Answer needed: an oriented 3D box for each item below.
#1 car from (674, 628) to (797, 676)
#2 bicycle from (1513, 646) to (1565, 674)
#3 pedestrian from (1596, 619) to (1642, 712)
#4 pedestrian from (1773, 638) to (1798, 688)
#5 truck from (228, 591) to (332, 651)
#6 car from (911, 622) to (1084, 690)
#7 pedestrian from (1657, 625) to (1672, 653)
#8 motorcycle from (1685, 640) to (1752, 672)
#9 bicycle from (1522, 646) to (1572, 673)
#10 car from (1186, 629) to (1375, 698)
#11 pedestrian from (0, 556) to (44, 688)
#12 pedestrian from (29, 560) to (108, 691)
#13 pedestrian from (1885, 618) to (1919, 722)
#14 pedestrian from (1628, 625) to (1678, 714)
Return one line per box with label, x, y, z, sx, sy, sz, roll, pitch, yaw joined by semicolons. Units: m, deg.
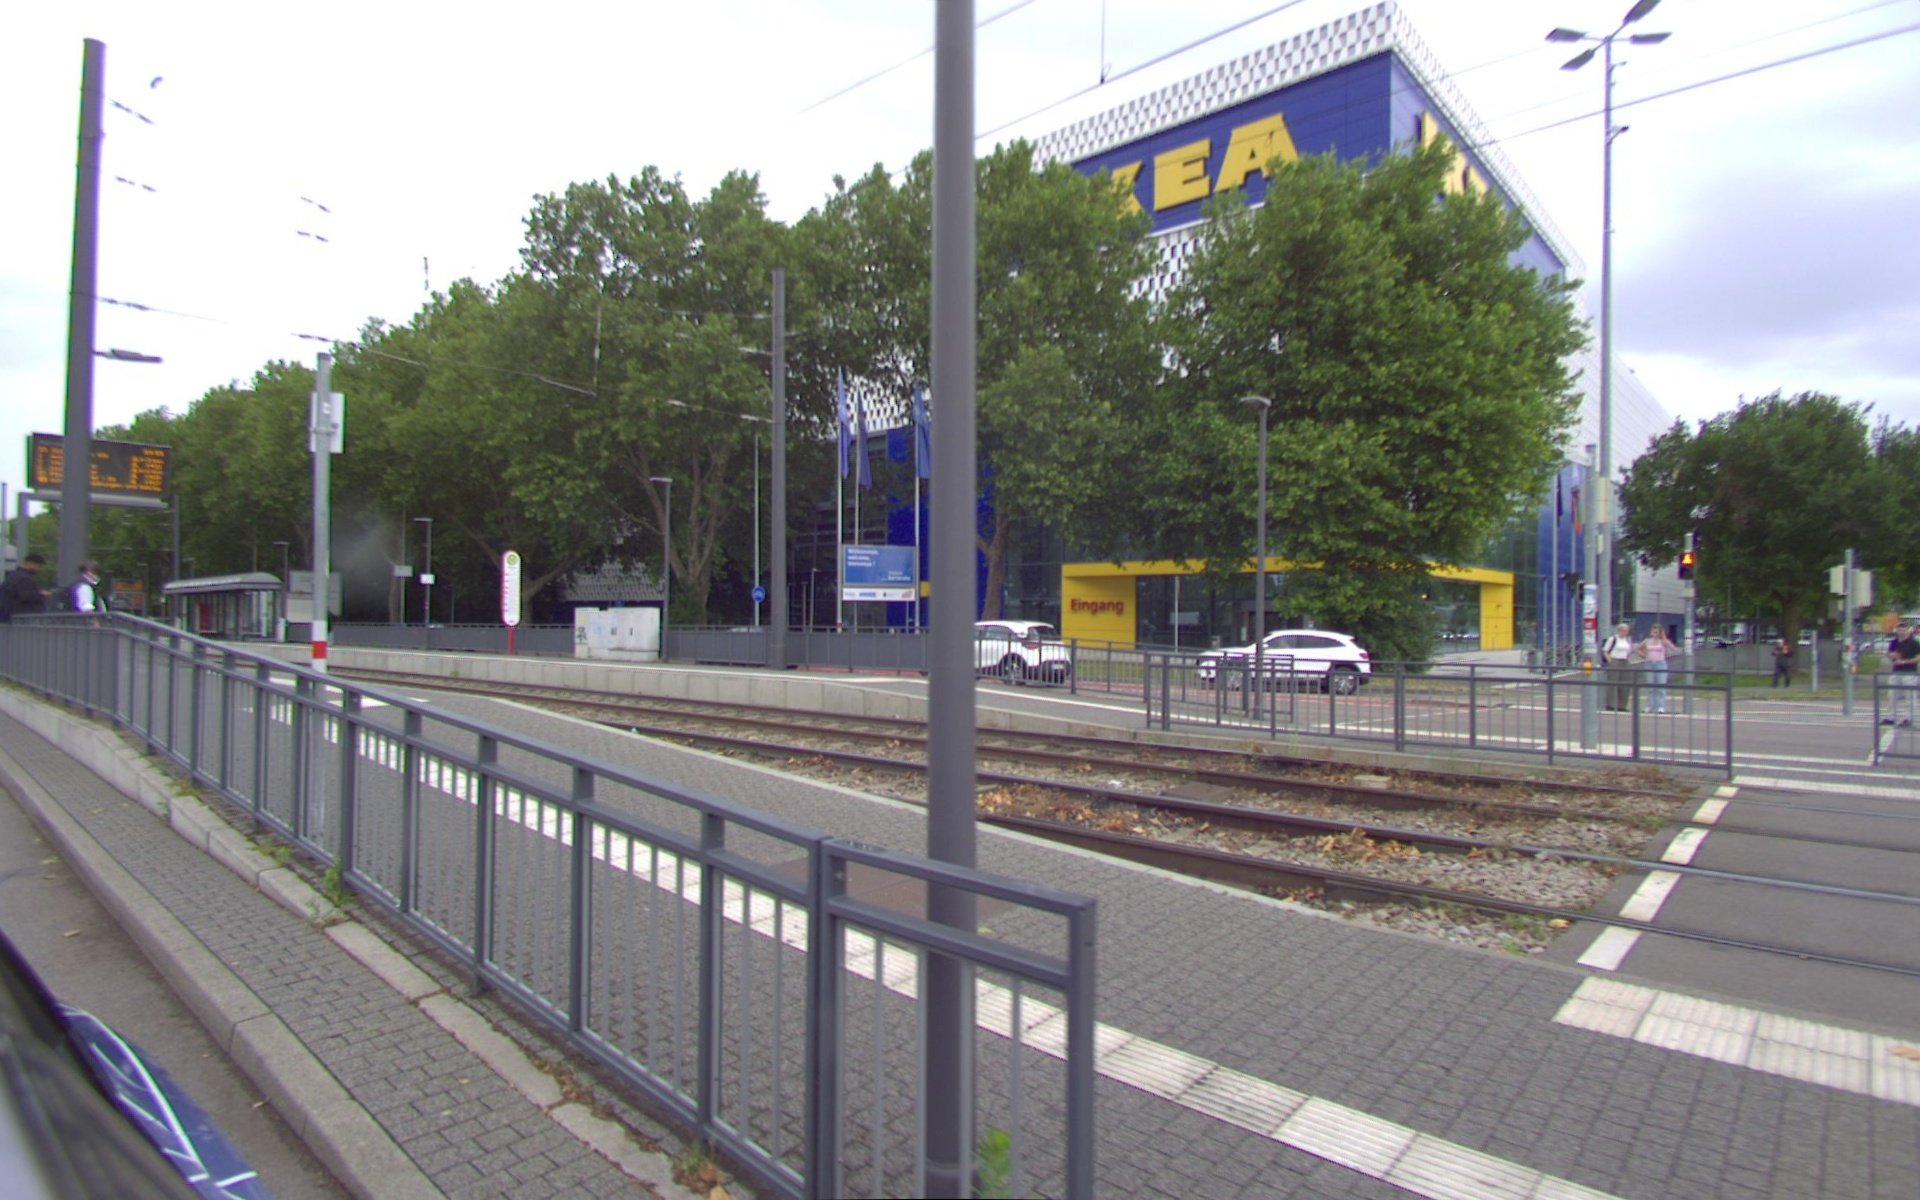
car;-7.279;1.651;32.717;3.994;1.429;1.705;-1;-3;38
bicycle;27.473;2.833;48.053;2.022;1.165;0.585;2;0;42
pedestrian;13.242;1.317;20.363;0.672;1.811;0.759;1;-3;26
pedestrian;27.594;2.104;33.837;0.635;1.655;0.798;0;-3;41
truck;-45.511;1.460;67.601;9.893;3.691;3.217;-1;-4;42
car;0.902;1.398;25.627;4.139;1.598;1.773;-1;-4;40
pedestrian;46.080;2.550;66.213;0.679;1.759;0.797;0;-1;43
motorcycle;37.118;2.736;49.582;2.492;1.365;0.791;2;0;32
bicycle;28.273;2.873;48.761;2.022;1.165;0.585;2;0;42
car;8.247;1.622;26.411;4.357;1.597;1.889;2;-2;7
pedestrian;-12.937;0.297;13.696;0.776;1.755;0.587;0;0;-45
pedestrian;-11.157;0.304;12.666;0.633;1.571;0.701;0;0;45
pedestrian;16.686;1.235;17.674;0.664;1.778;0.678;-4;-8;41
pedestrian;13.857;1.370;20.239;0.754;1.725;0.676;3;-3;-43
